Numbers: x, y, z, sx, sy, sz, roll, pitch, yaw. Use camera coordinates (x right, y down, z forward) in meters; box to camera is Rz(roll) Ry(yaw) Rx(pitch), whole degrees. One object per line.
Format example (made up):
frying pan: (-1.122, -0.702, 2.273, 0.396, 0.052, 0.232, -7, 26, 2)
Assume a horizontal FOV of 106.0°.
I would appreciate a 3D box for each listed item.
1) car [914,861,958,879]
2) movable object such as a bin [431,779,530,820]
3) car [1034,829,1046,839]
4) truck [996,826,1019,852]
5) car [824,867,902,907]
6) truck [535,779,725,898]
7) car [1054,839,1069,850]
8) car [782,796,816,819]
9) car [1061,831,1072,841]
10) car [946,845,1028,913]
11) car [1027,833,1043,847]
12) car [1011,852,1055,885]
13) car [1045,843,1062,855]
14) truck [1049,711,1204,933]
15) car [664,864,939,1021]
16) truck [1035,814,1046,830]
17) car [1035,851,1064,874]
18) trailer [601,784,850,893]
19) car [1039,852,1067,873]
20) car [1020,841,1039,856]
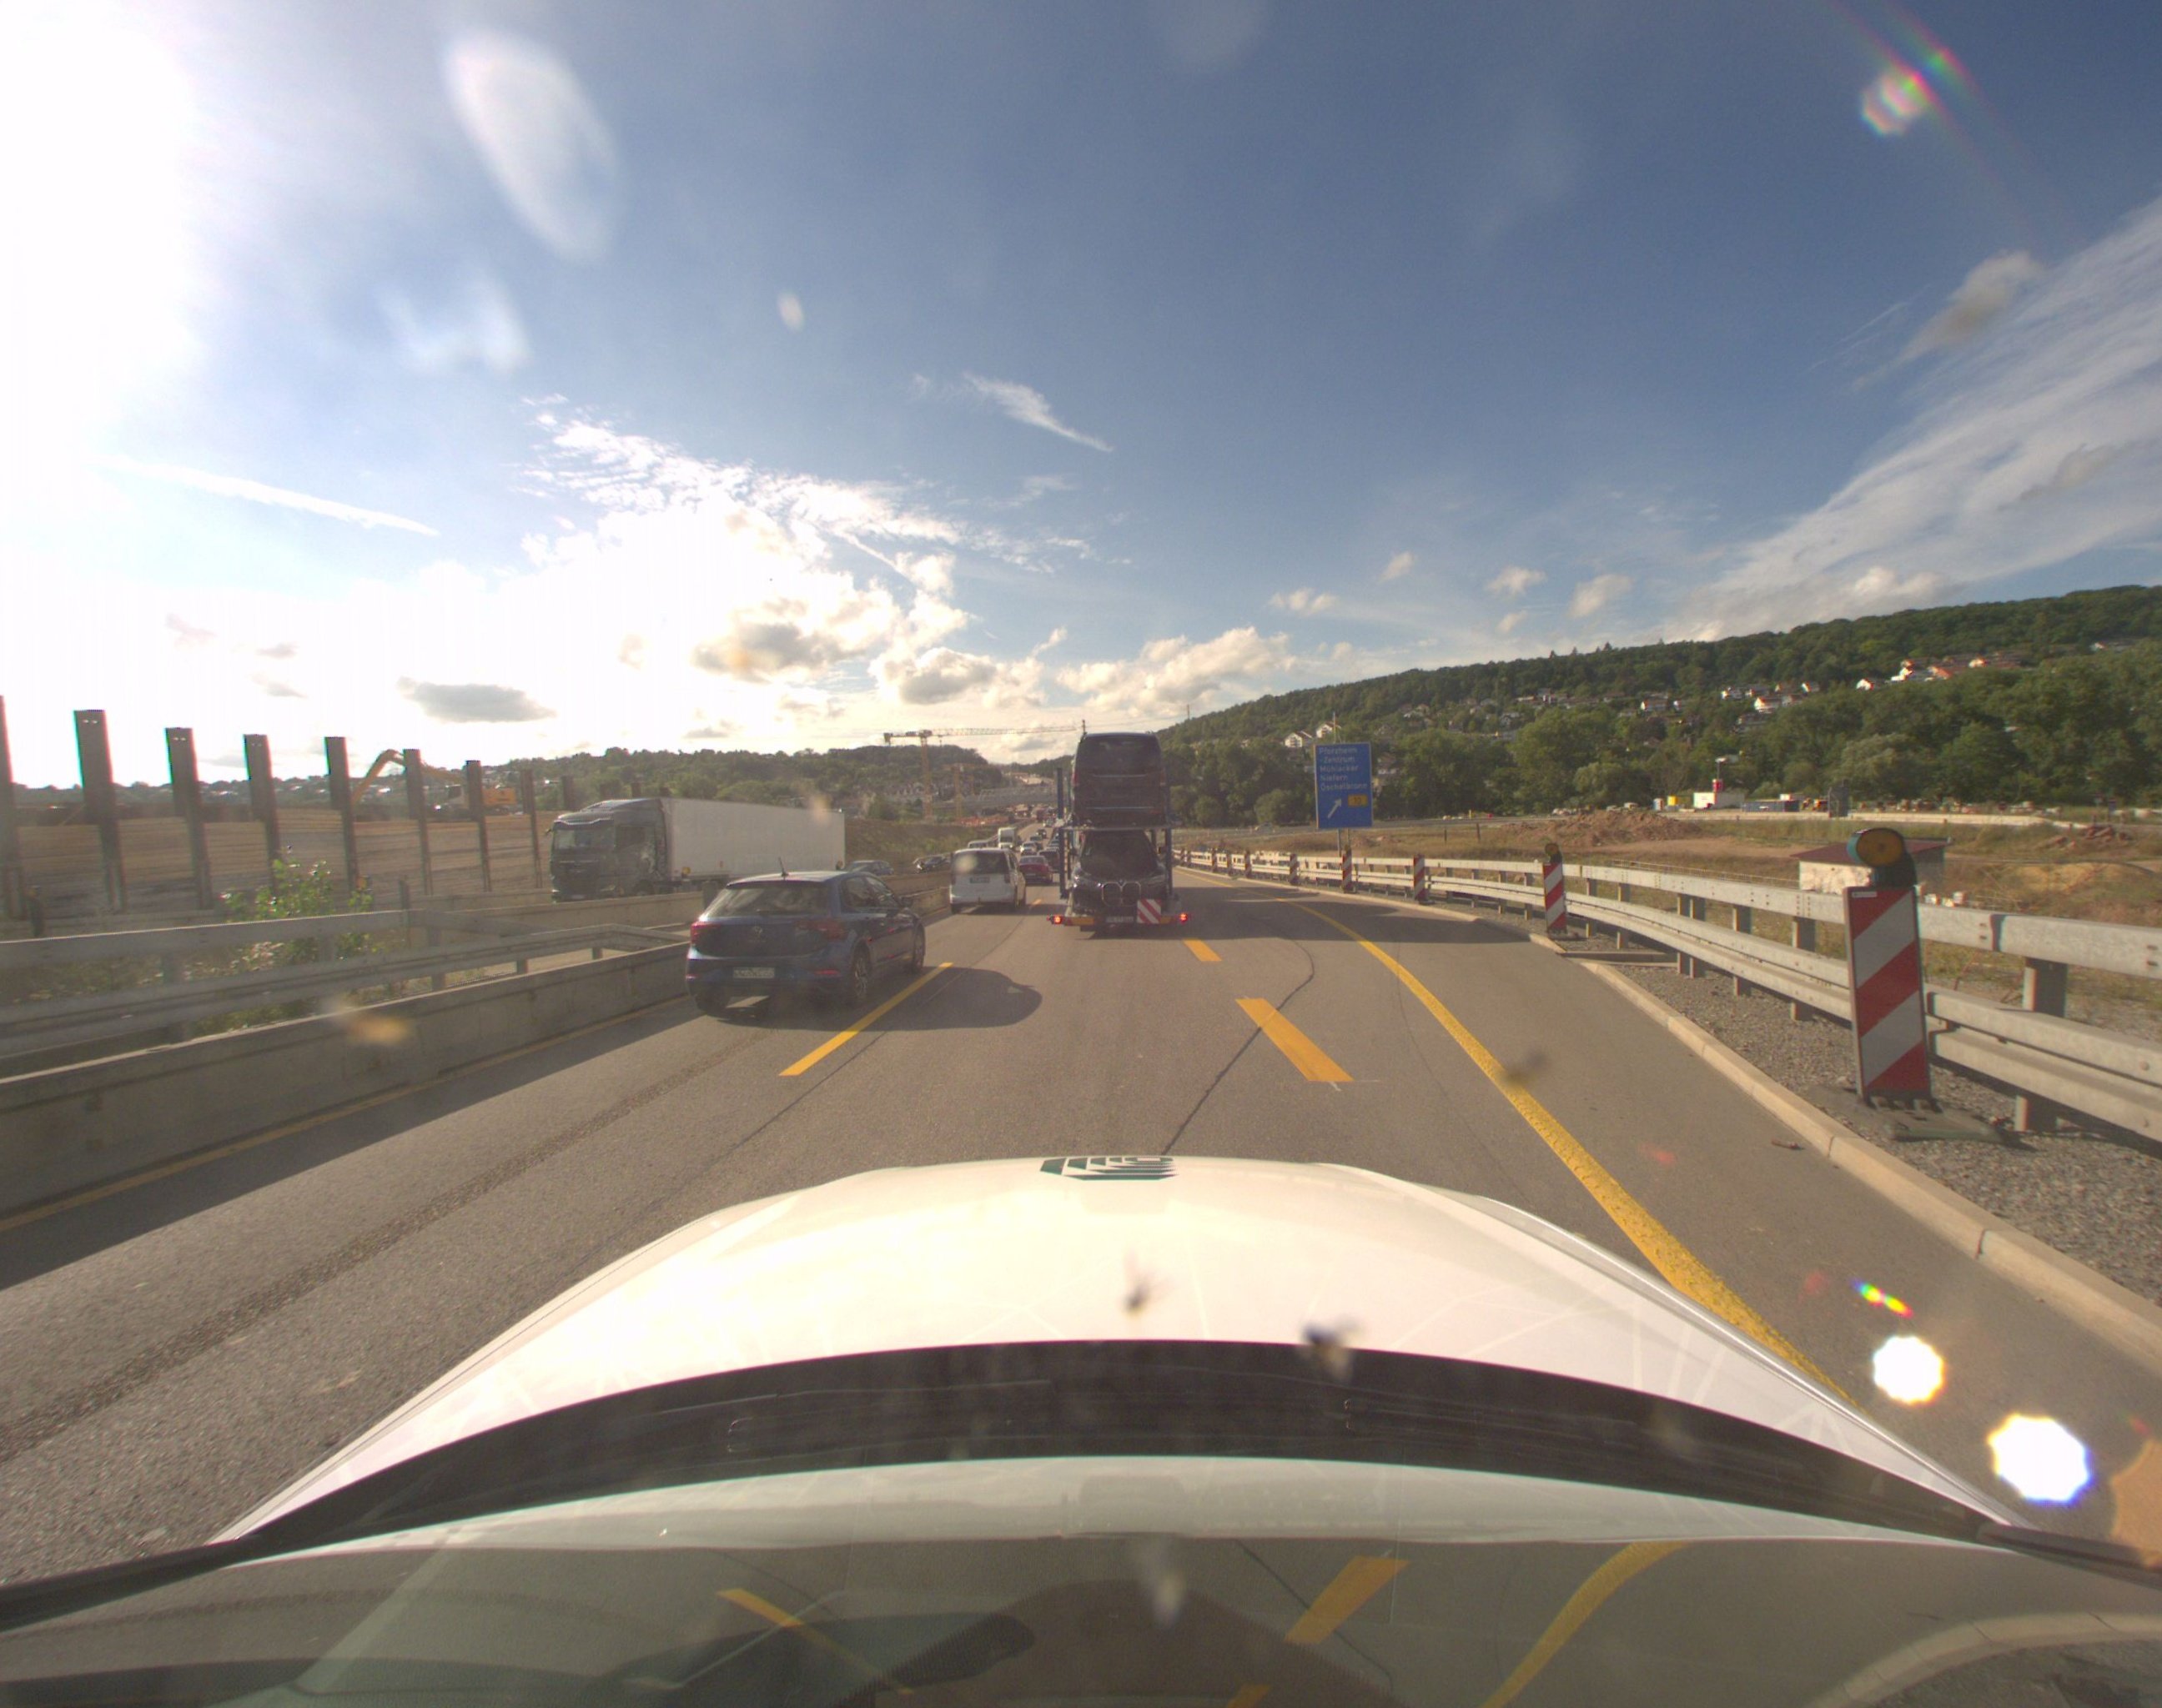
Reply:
car: (-10.867, 1.155, 61.265, 1.908, 1.273, 4.011, -2, -1, 10)
movable object such as a bin: (-54.520, -4.889, 74.079, 5.708, 3.270, 4.525, -2, -1, 11)
car: (-7.554, -3.755, 151.648, 1.846, 1.635, 4.749, -3, 1, 0)
truck: (-10.057, -2.003, 111.890, 2.694, 3.311, 7.530, -1, -1, -2)
car: (-10.252, 1.513, 38.603, 1.982, 1.726, 4.133, -2, -1, 9)
truck: (-15.954, -0.477, 29.388, 2.759, 3.788, 6.035, -2, -1, 10)
car: (-2.879, -1.349, 120.660, 1.986, 1.552, 4.001, -1, -1, 1)
car: (-33.665, -5.506, 97.466, 1.988, 2.140, 5.319, -6, -1, -1)
car: (-2.668, -3.205, 146.740, 1.840, 1.648, 4.500, -2, 1, -3)
car: (-2.667, 0.697, 23.953, 1.816, 1.792, 4.001, -1, -1, 1)
car: (-6.602, -2.026, 117.024, 2.120, 1.765, 5.029, -1, 2, -1)
car: (-2.362, 0.717, 41.458, 1.988, 1.556, 4.399, -1, -1, -1)
car: (-3.530, -0.640, 106.529, 1.986, 1.552, 4.001, -1, -1, 1)
truck: (0.965, -0.470, 24.015, 2.743, 3.955, 18.890, 0, -1, 1)
car: (-3.033, 0.894, 9.784, 1.715, 1.422, 4.002, -3, -2, 2)
truck: (-11.670, -9.208, 234.500, 2.909, 4.386, 6.277, 0, 1, -4)
car: (-2.293, 0.609, 57.986, 1.989, 1.552, 3.995, -1, -1, -4)
trailer: (-14.775, -0.484, 36.143, 2.803, 3.841, 13.842, -2, -1, 10)
car: (-2.199, 0.675, 65.758, 1.986, 1.552, 4.001, -1, -1, 1)
car: (-6.251, -0.672, 99.551, 2.120, 1.673, 4.271, -1, 2, -1)
